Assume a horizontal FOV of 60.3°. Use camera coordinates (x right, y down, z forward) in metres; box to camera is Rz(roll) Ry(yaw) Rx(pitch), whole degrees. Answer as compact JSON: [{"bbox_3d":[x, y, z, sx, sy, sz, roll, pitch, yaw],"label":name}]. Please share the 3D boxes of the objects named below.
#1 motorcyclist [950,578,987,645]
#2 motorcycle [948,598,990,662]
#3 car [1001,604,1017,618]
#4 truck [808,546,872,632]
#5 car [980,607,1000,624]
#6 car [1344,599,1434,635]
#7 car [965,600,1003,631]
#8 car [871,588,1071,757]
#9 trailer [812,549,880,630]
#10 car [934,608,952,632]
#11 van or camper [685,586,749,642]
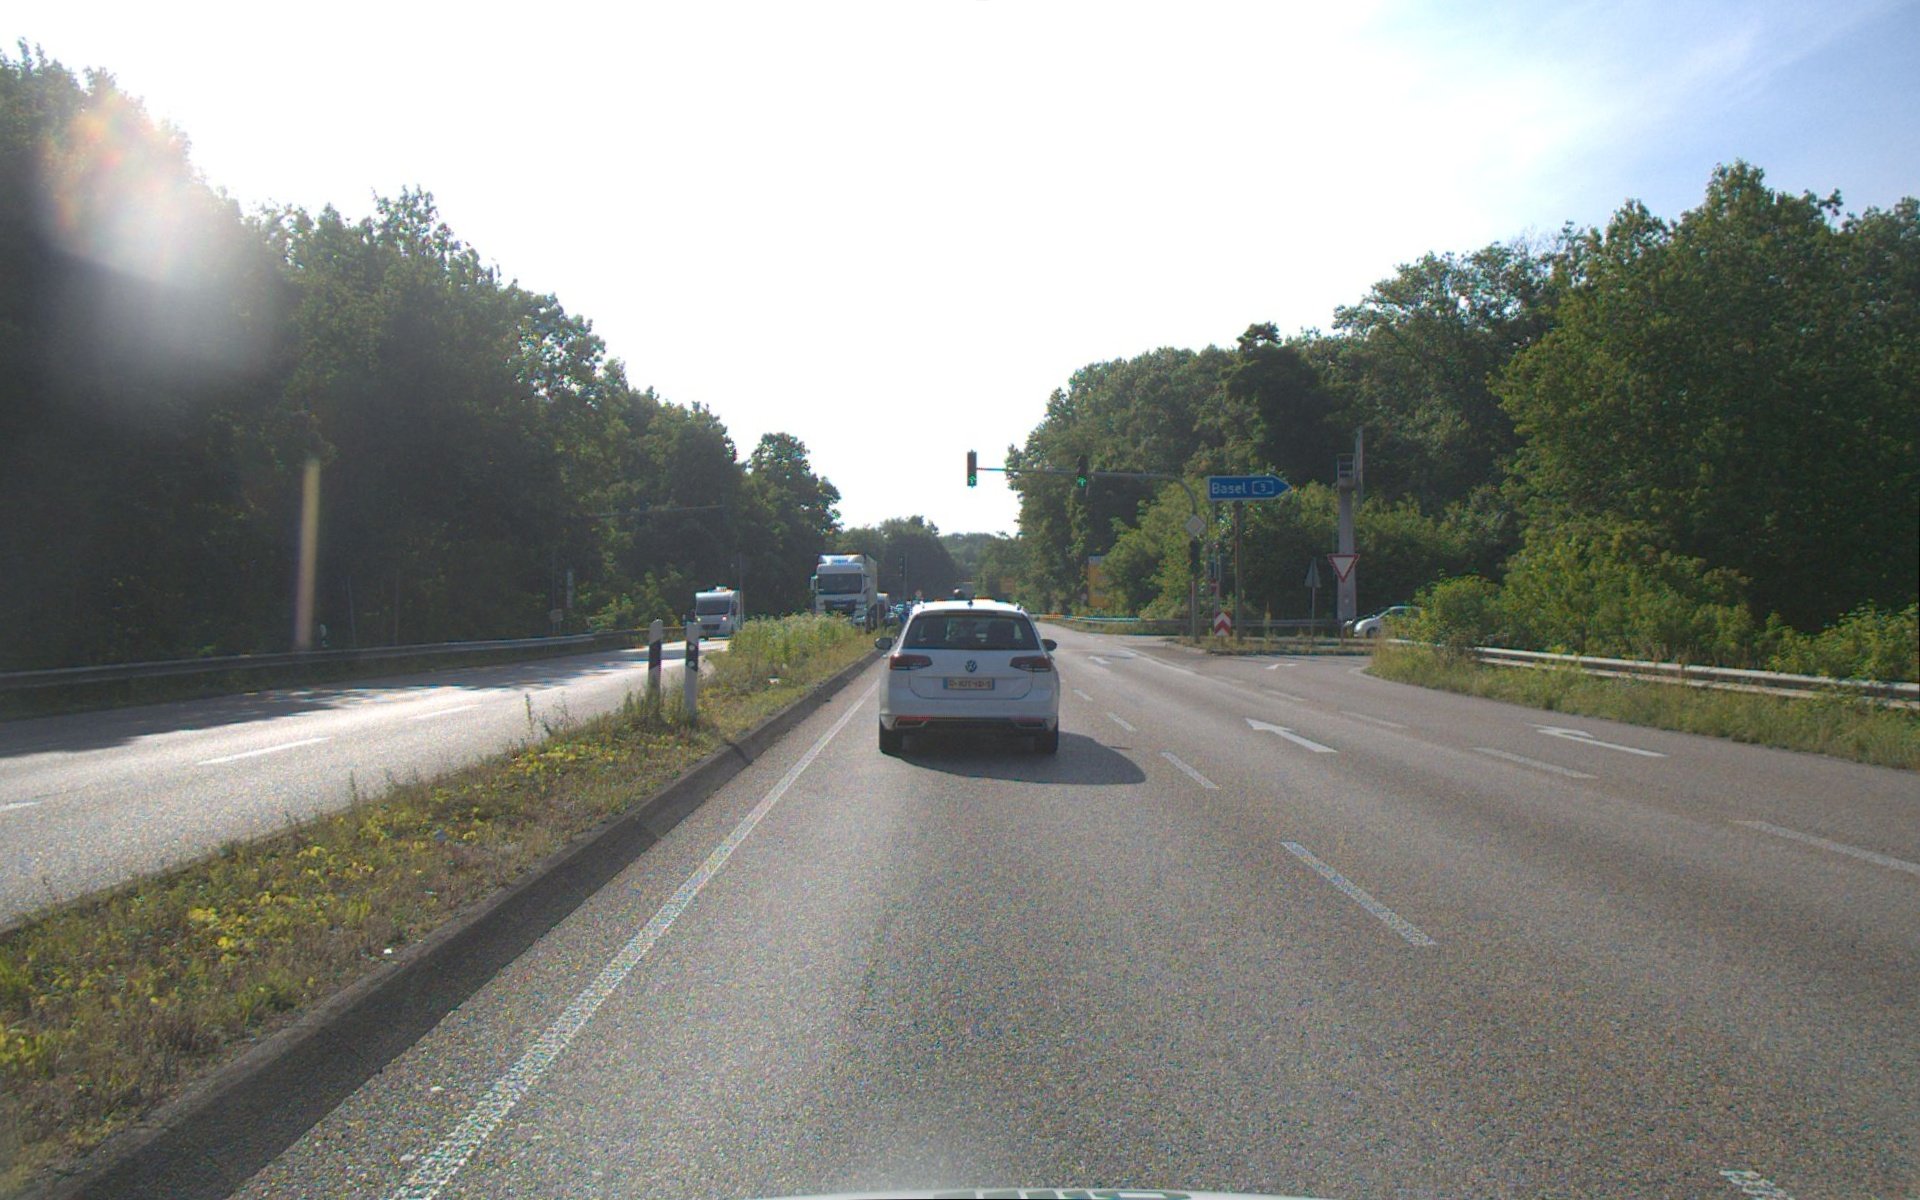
[{"bbox_3d":[0.230,0.290,41.578,0.865,1.644,1.290,1,0,2],"label":"motorcyclist"},{"bbox_3d":[0.236,0.734,41.478,0.890,1.478,2.689,-4,0,2],"label":"motorcycle"},{"bbox_3d":[5.458,1.266,184.927,1.725,1.404,3.972,-2,1,1],"label":"car"},{"bbox_3d":[-5.922,-0.532,82.688,2.832,4.067,6.719,1,0,-2],"label":"truck"},{"bbox_3d":[2.526,1.311,139.373,1.725,1.404,3.972,1,0,1],"label":"car"},{"bbox_3d":[18.652,0.712,71.994,3.522,1.529,1.809,0,0,4],"label":"car"},{"bbox_3d":[1.109,0.694,77.512,1.725,1.404,3.972,1,0,1],"label":"car"},{"bbox_3d":[0.126,0.665,17.606,1.831,1.548,4.834,0,0,1],"label":"car"},{"bbox_3d":[-6.105,-0.521,90.322,2.931,4.066,14.010,1,0,-1],"label":"trailer"},{"bbox_3d":[-2.259,2.635,218.232,2.164,2.939,7.010,-2,0,0],"label":"car"},{"bbox_3d":[-12.981,0.732,88.754,2.364,2.758,6.437,-3,0,0],"label":"van or camper"}]
